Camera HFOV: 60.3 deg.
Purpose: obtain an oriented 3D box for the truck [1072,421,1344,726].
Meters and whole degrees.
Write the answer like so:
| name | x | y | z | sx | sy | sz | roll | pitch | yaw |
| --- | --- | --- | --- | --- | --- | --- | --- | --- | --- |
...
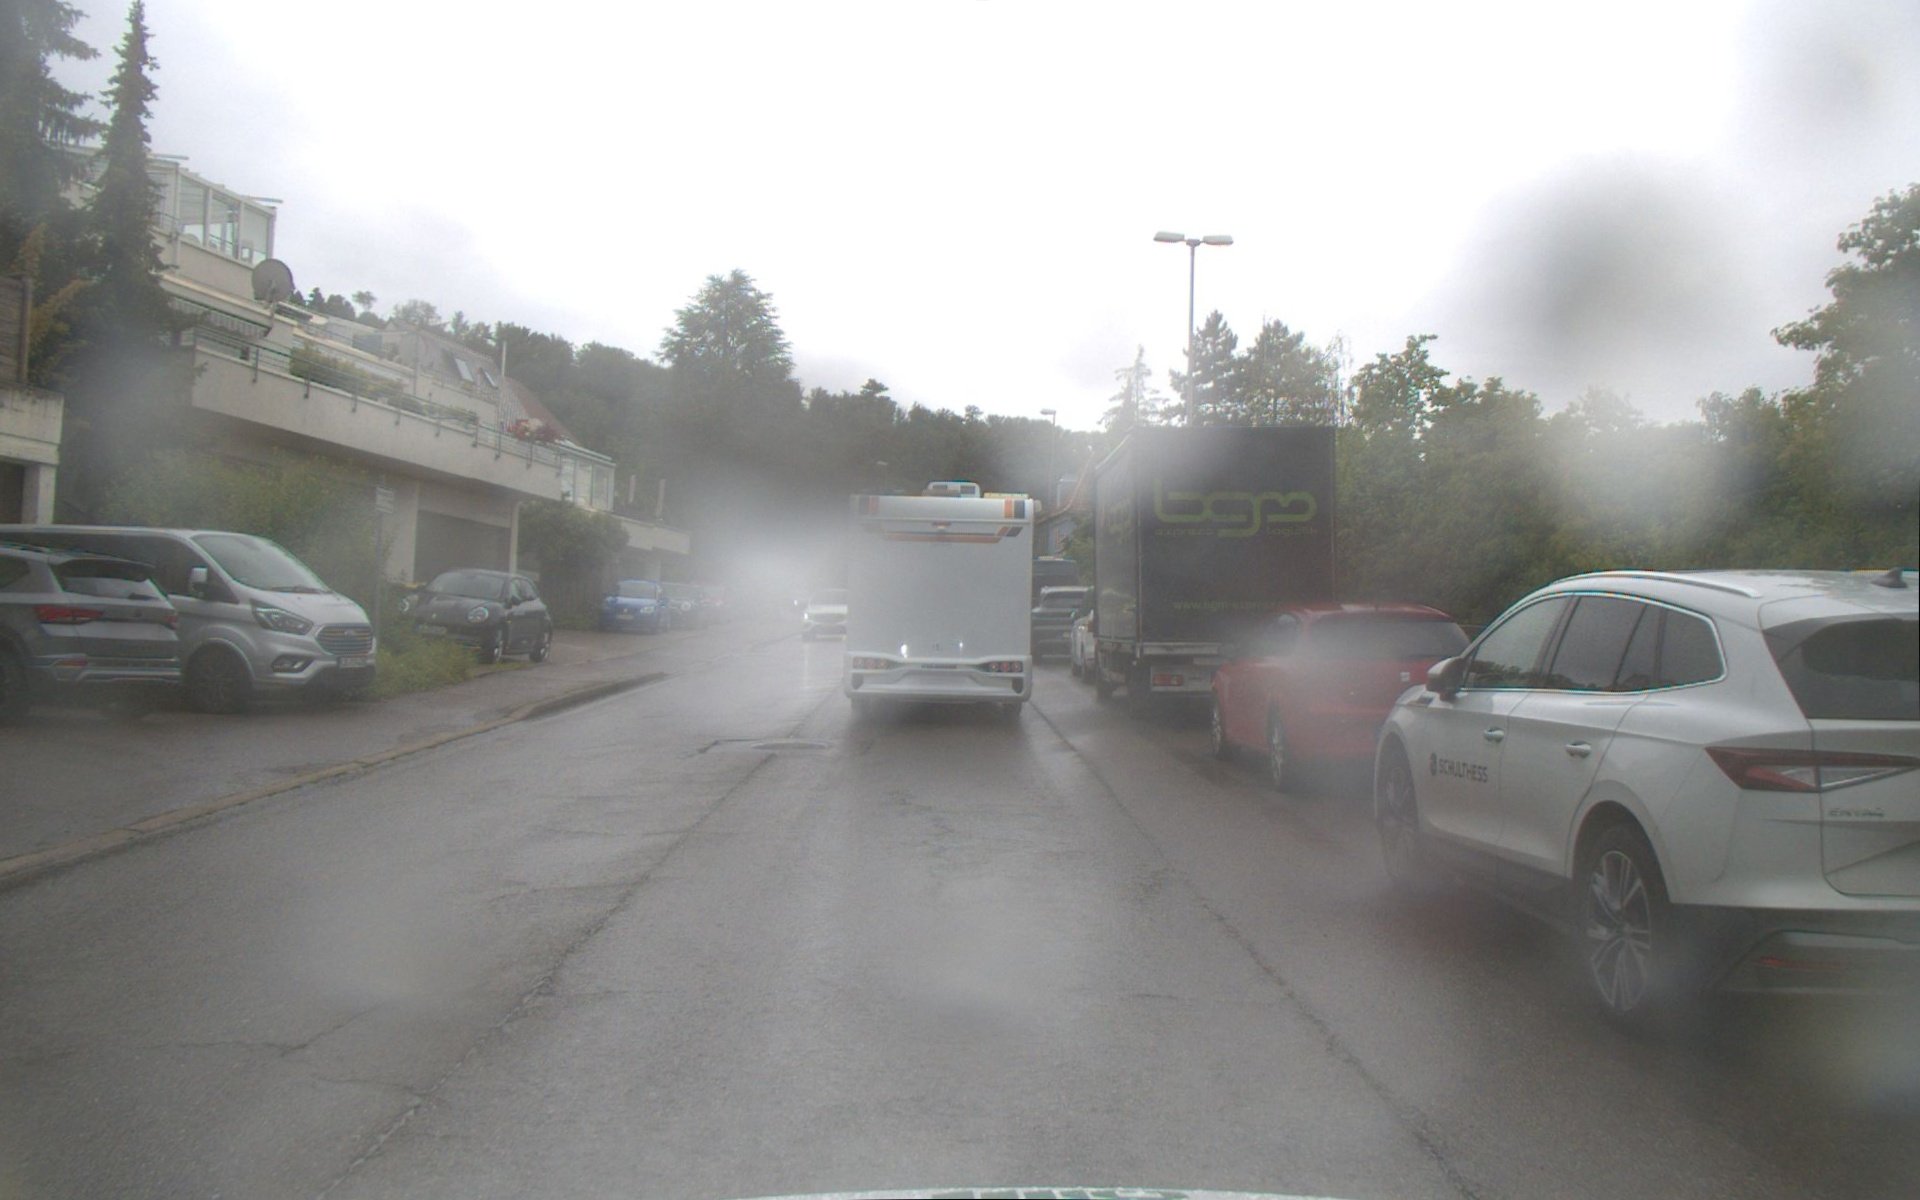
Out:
| name | x | y | z | sx | sy | sz | roll | pitch | yaw |
| --- | --- | --- | --- | --- | --- | --- | --- | --- | --- |
| truck | 3.042 | -0.279 | 22.438 | 2.386 | 3.394 | 7.963 | 0 | 0 | -1 |

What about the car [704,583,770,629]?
| name | x | y | z | sx | sy | sz | roll | pitch | yaw |
| --- | --- | --- | --- | --- | --- | --- | --- | --- | --- |
| car | -8.211 | 0.218 | 61.275 | 1.739 | 1.461 | 4.587 | 6 | 0 | -1 |

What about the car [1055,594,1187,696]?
| name | x | y | z | sx | sy | sz | roll | pitch | yaw |
| --- | --- | --- | --- | --- | --- | --- | --- | --- | --- |
| car | 2.860 | 0.765 | 30.497 | 1.808 | 1.713 | 5.637 | 0 | 0 | -1 |

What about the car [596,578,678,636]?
| name | x | y | z | sx | sy | sz | roll | pitch | yaw |
| --- | --- | --- | --- | --- | --- | --- | --- | --- | --- |
| car | -9.192 | 0.161 | 47.386 | 1.575 | 1.459 | 3.958 | 5 | 1 | -2 |

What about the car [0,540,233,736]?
| name | x | y | z | sx | sy | sz | roll | pitch | yaw |
| --- | --- | --- | --- | --- | --- | --- | --- | --- | --- |
| car | -9.275 | 0.281 | 15.724 | 3.969 | 1.667 | 1.895 | 2 | -1 | 15 |

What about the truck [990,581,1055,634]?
| name | x | y | z | sx | sy | sz | roll | pitch | yaw |
| --- | --- | --- | --- | --- | --- | --- | --- | --- | --- |
| truck | 2.410 | 0.284 | 65.279 | 2.071 | 1.884 | 6.616 | 3 | 0 | -2 |

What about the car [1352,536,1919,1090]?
| name | x | y | z | sx | sy | sz | roll | pitch | yaw |
| --- | --- | --- | --- | --- | --- | --- | --- | --- | --- |
| car | 3.180 | 0.638 | 7.247 | 1.724 | 1.632 | 4.665 | 0 | 0 | -1 |

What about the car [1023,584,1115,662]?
| name | x | y | z | sx | sy | sz | roll | pitch | yaw |
| --- | --- | --- | --- | --- | --- | --- | --- | --- | --- |
| car | 2.470 | 0.497 | 38.360 | 1.896 | 1.701 | 4.695 | 0 | 0 | 1 |

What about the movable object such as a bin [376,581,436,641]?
| name | x | y | z | sx | sy | sz | roll | pitch | yaw |
| --- | --- | --- | --- | --- | --- | --- | --- | --- | --- |
| movable object such as a bin | -10.822 | 0.221 | 32.343 | 0.709 | 1.089 | 0.767 | 5 | -1 | 17 |

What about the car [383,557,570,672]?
| name | x | y | z | sx | sy | sz | roll | pitch | yaw |
| --- | --- | --- | --- | --- | --- | --- | --- | --- | --- |
| car | -8.178 | 0.221 | 28.389 | 1.655 | 1.615 | 4.198 | 7 | 0 | 2 |

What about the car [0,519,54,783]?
| name | x | y | z | sx | sy | sz | roll | pitch | yaw |
| --- | --- | --- | --- | --- | --- | --- | --- | --- | --- |
| car | -8.283 | 0.169 | 10.604 | 3.969 | 1.721 | 1.895 | 5 | 0 | 12 |

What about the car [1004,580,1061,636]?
| name | x | y | z | sx | sy | sz | roll | pitch | yaw |
| --- | --- | --- | --- | --- | --- | --- | --- | --- | --- |
| car | 2.536 | 0.263 | 58.921 | 1.790 | 1.874 | 5.269 | 0 | 0 | 0 |

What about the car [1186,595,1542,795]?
| name | x | y | z | sx | sy | sz | roll | pitch | yaw |
| --- | --- | --- | --- | --- | --- | --- | --- | --- | --- |
| car | 3.305 | 0.706 | 14.616 | 1.795 | 1.463 | 4.985 | 0 | 0 | -2 |

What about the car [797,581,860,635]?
| name | x | y | z | sx | sy | sz | roll | pitch | yaw |
| --- | --- | --- | --- | --- | --- | --- | --- | --- | --- |
| car | -4.285 | 0.240 | 54.391 | 1.868 | 1.635 | 4.426 | 2 | 0 | -3 |

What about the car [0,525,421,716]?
| name | x | y | z | sx | sy | sz | roll | pitch | yaw |
| --- | --- | --- | --- | --- | --- | --- | --- | --- | --- |
| car | -8.918 | 0.210 | 18.772 | 4.977 | 1.978 | 2.143 | 0 | 0 | 15 |

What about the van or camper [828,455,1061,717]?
| name | x | y | z | sx | sy | sz | roll | pitch | yaw |
| --- | --- | --- | --- | --- | --- | --- | --- | --- | --- |
| van or camper | -0.185 | -0.085 | 21.916 | 2.562 | 2.903 | 6.030 | 2 | -2 | 0 |

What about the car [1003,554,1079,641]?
| name | x | y | z | sx | sy | sz | roll | pitch | yaw |
| --- | --- | --- | --- | --- | --- | --- | --- | --- | --- |
| car | 2.454 | -0.076 | 51.608 | 1.990 | 2.549 | 5.954 | 0 | 0 | -1 |

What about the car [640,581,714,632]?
| name | x | y | z | sx | sy | sz | roll | pitch | yaw |
| --- | --- | --- | --- | --- | --- | --- | --- | --- | --- |
| car | -9.028 | 0.195 | 53.071 | 1.600 | 1.420 | 4.238 | 5 | 0 | -1 |
